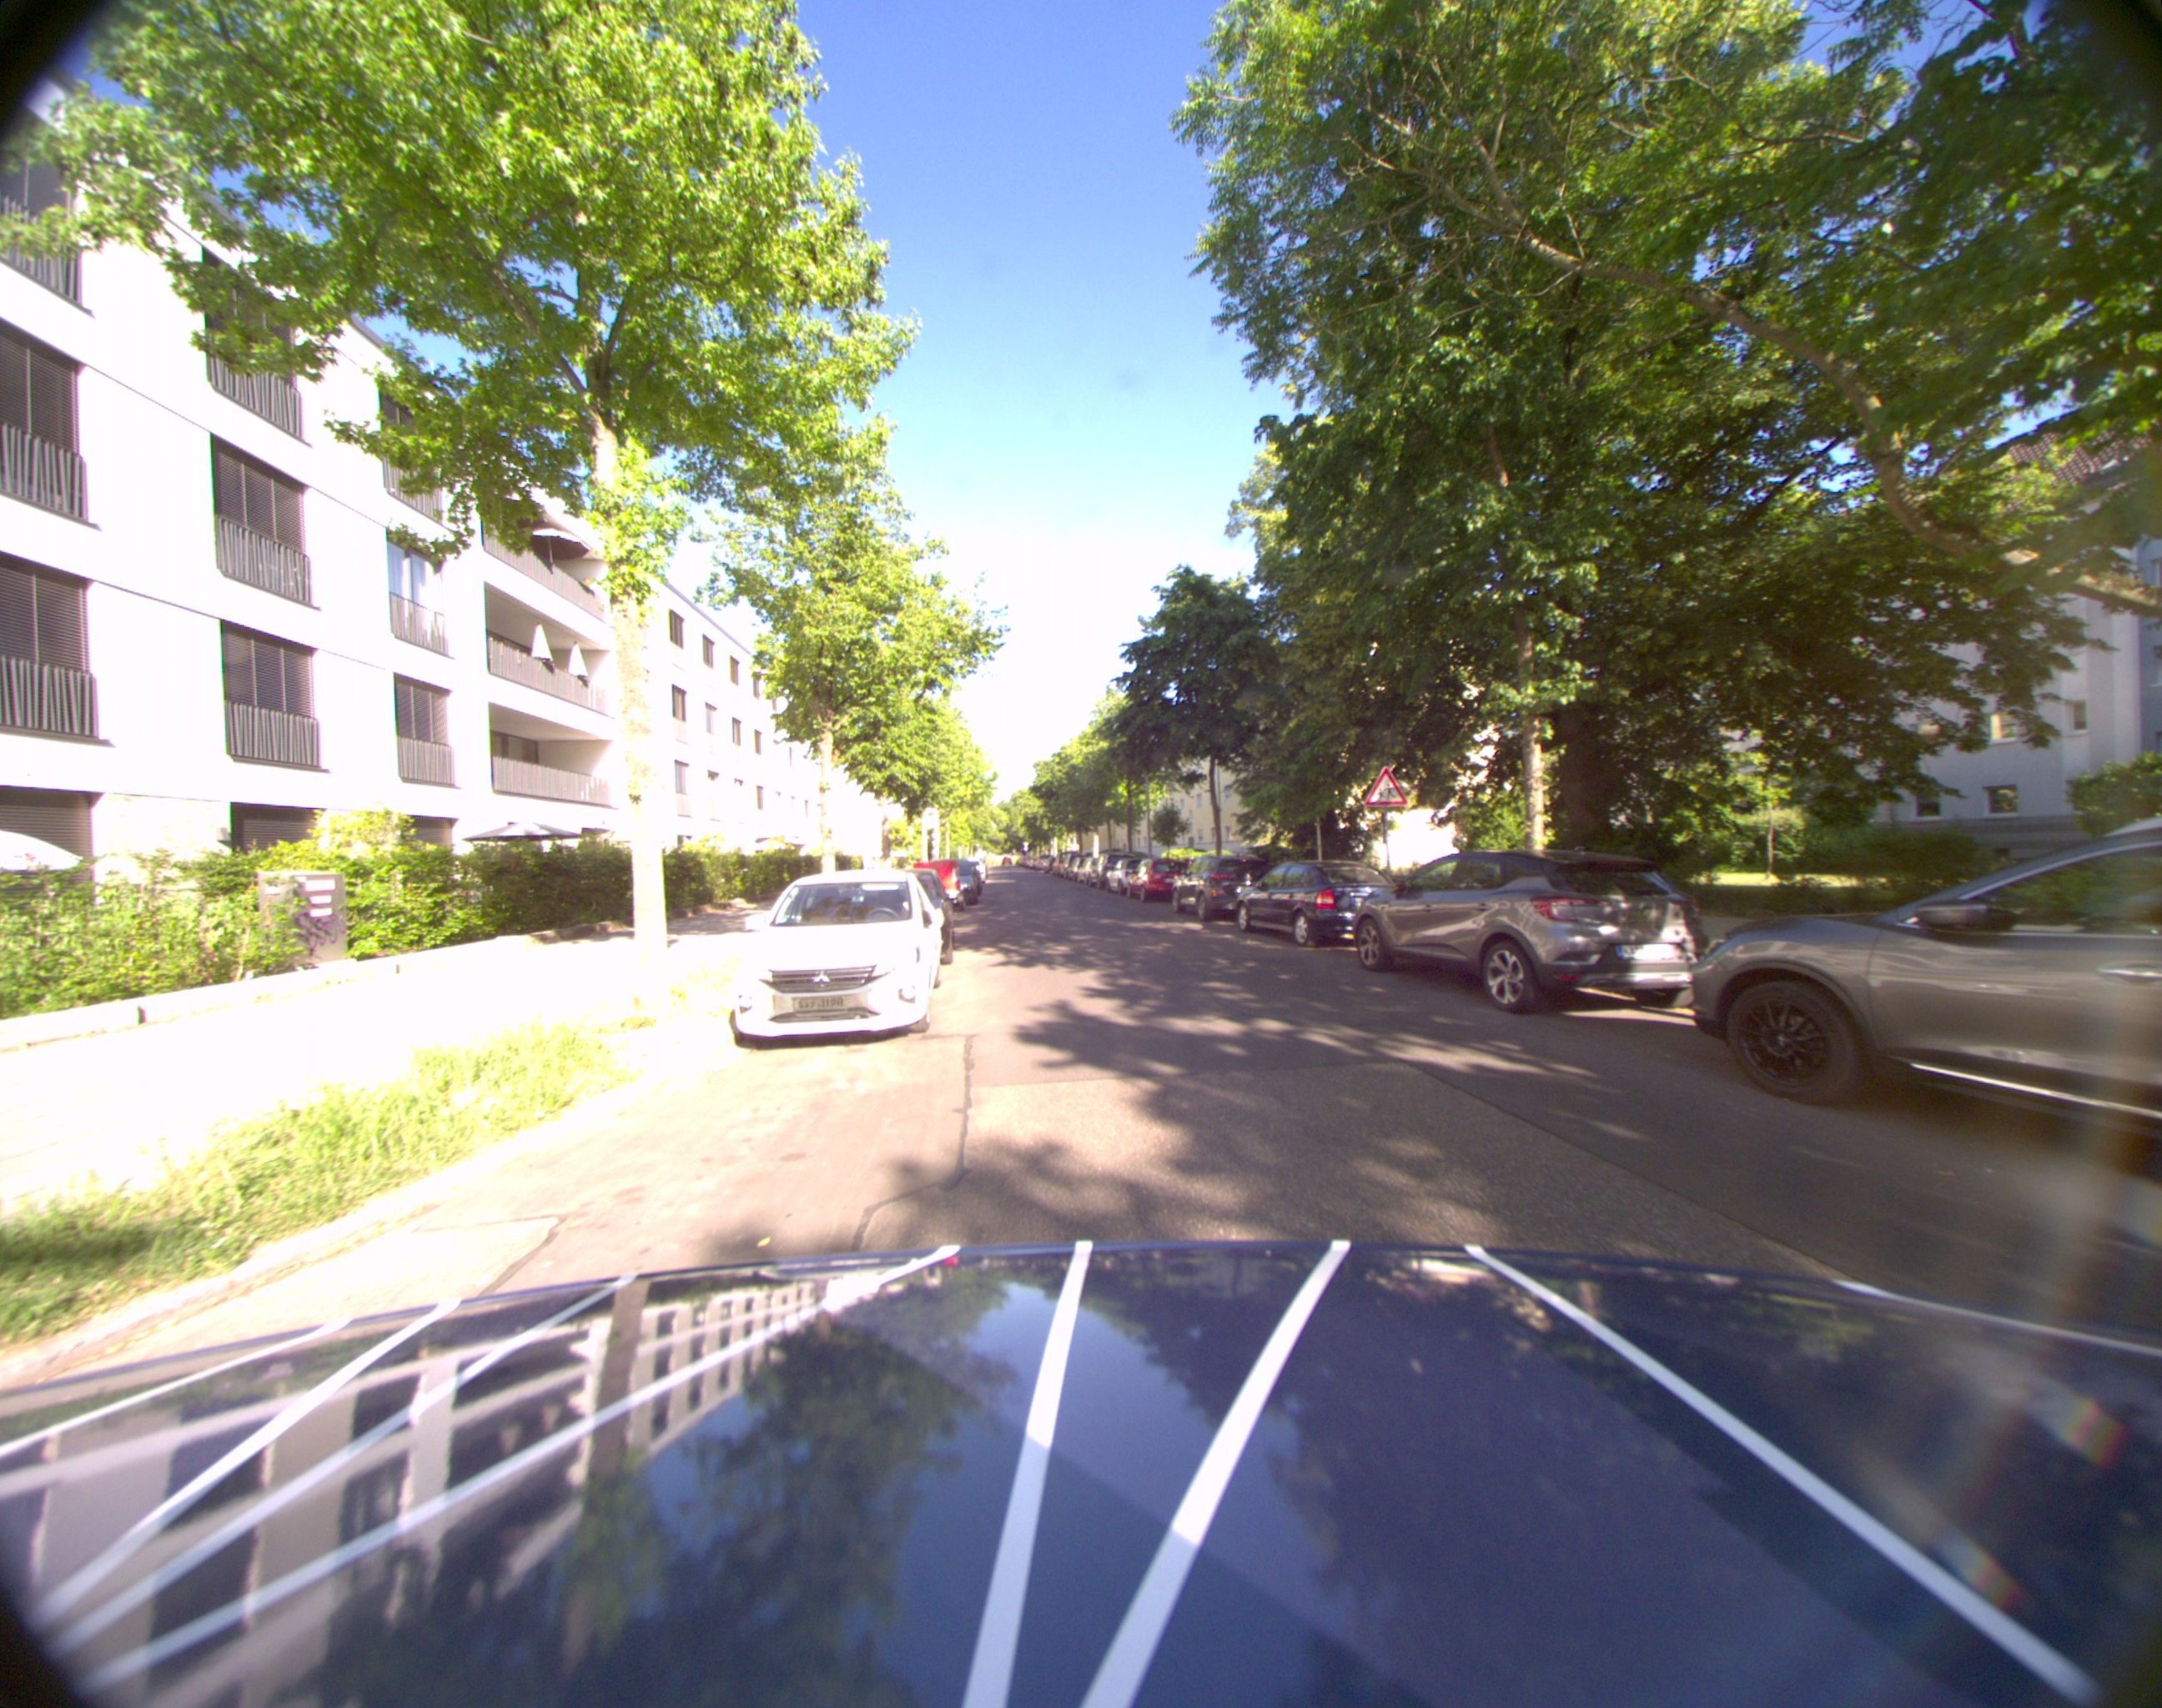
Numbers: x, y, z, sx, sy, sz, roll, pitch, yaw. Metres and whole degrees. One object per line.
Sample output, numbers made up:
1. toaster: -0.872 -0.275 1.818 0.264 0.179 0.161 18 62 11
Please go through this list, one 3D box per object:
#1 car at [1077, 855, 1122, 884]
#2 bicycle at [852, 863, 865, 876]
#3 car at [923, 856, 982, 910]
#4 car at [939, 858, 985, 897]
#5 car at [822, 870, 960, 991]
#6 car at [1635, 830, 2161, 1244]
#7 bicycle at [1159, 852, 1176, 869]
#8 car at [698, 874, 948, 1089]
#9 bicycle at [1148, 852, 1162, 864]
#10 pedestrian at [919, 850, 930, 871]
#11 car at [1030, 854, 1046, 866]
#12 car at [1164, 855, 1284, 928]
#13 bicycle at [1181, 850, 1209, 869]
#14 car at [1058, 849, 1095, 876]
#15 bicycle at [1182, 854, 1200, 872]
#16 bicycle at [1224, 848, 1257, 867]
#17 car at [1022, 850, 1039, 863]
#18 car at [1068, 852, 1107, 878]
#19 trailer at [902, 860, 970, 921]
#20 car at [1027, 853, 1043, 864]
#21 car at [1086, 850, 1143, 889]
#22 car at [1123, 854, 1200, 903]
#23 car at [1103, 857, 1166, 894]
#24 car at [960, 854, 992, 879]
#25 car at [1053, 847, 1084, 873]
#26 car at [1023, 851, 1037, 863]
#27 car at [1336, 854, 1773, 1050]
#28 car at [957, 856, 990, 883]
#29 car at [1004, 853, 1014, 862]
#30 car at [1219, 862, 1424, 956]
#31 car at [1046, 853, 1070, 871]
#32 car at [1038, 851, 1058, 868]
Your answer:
1. car: 0.931 0.790 41.276 1.712 1.472 4.486 -1 0 -8
2. bicycle: -15.874 1.080 54.285 0.565 0.889 1.608 -2 0 -6
3. car: -4.555 0.970 27.509 1.798 1.634 4.815 -4 1 -7
4. car: -5.200 0.997 33.649 1.723 1.508 4.342 -3 0 -6
5. car: -2.936 1.084 12.536 1.675 1.442 4.175 -4 1 -8
6. car: 5.238 0.726 3.268 1.773 1.678 4.810 -1 0 -8
7. bicycle: 5.973 0.431 52.613 0.596 1.183 2.259 -1 0 -8
8. car: -2.367 1.046 8.003 1.738 1.478 4.006 -3 1 -9
9. bicycle: 5.722 0.318 58.707 0.596 0.911 1.902 -1 0 -8
10. pedestrian: -15.088 0.630 73.310 0.908 2.002 1.005 -1 1 -6
11. car: -5.274 0.677 93.075 1.607 1.382 3.809 -2 0 -7
12. car: 3.414 0.821 19.033 1.711 1.568 4.479 -1 0 -6
13. bicycle: 7.797 0.340 52.020 1.827 1.218 0.517 -2 1 -6
14. car: -0.343 0.547 51.916 1.799 1.676 4.522 -1 0 -10
15. bicycle: 6.673 0.538 45.997 0.574 1.055 1.932 -2 1 -6
16. bicycle: 10.586 0.225 50.441 1.958 1.218 0.776 -2 1 -9
17. car: -7.343 0.411 109.828 1.892 1.797 3.911 -2 1 -11
18. car: 0.339 0.635 46.259 1.799 1.443 4.486 -1 0 -8
19. trailer: -4.275 1.027 22.822 1.579 1.569 3.190 -4 1 -5
20. car: -6.340 0.607 104.482 1.806 1.470 3.996 -2 0 -10
21. car: 1.515 0.678 36.007 1.847 1.647 5.084 -1 0 -7
22. car: 2.680 0.781 26.192 1.659 1.496 4.065 -1 0 -8
23. car: 2.089 0.821 30.765 1.659 1.365 4.186 -1 0 -8
24. car: -7.383 0.842 53.678 1.903 1.638 4.859 -3 0 -5
25. car: -0.955 0.451 57.057 1.799 1.839 4.863 -1 0 -7
26. car: -7.696 0.446 114.732 1.714 1.752 3.710 -2 1 -8
27. car: 4.682 0.801 8.472 1.774 1.522 4.417 -2 0 -6
28. car: -6.809 0.920 47.859 1.787 1.509 4.683 -3 0 -11
29. car: -12.371 0.645 130.361 1.666 1.456 3.445 -1 0 -5
30. car: 4.116 0.855 13.870 1.790 1.344 4.478 -1 0 -8
31. car: -2.114 0.698 67.821 1.781 1.462 4.061 1 0 -6
32. car: -3.507 0.524 79.509 1.865 1.718 3.998 0 0 -6
